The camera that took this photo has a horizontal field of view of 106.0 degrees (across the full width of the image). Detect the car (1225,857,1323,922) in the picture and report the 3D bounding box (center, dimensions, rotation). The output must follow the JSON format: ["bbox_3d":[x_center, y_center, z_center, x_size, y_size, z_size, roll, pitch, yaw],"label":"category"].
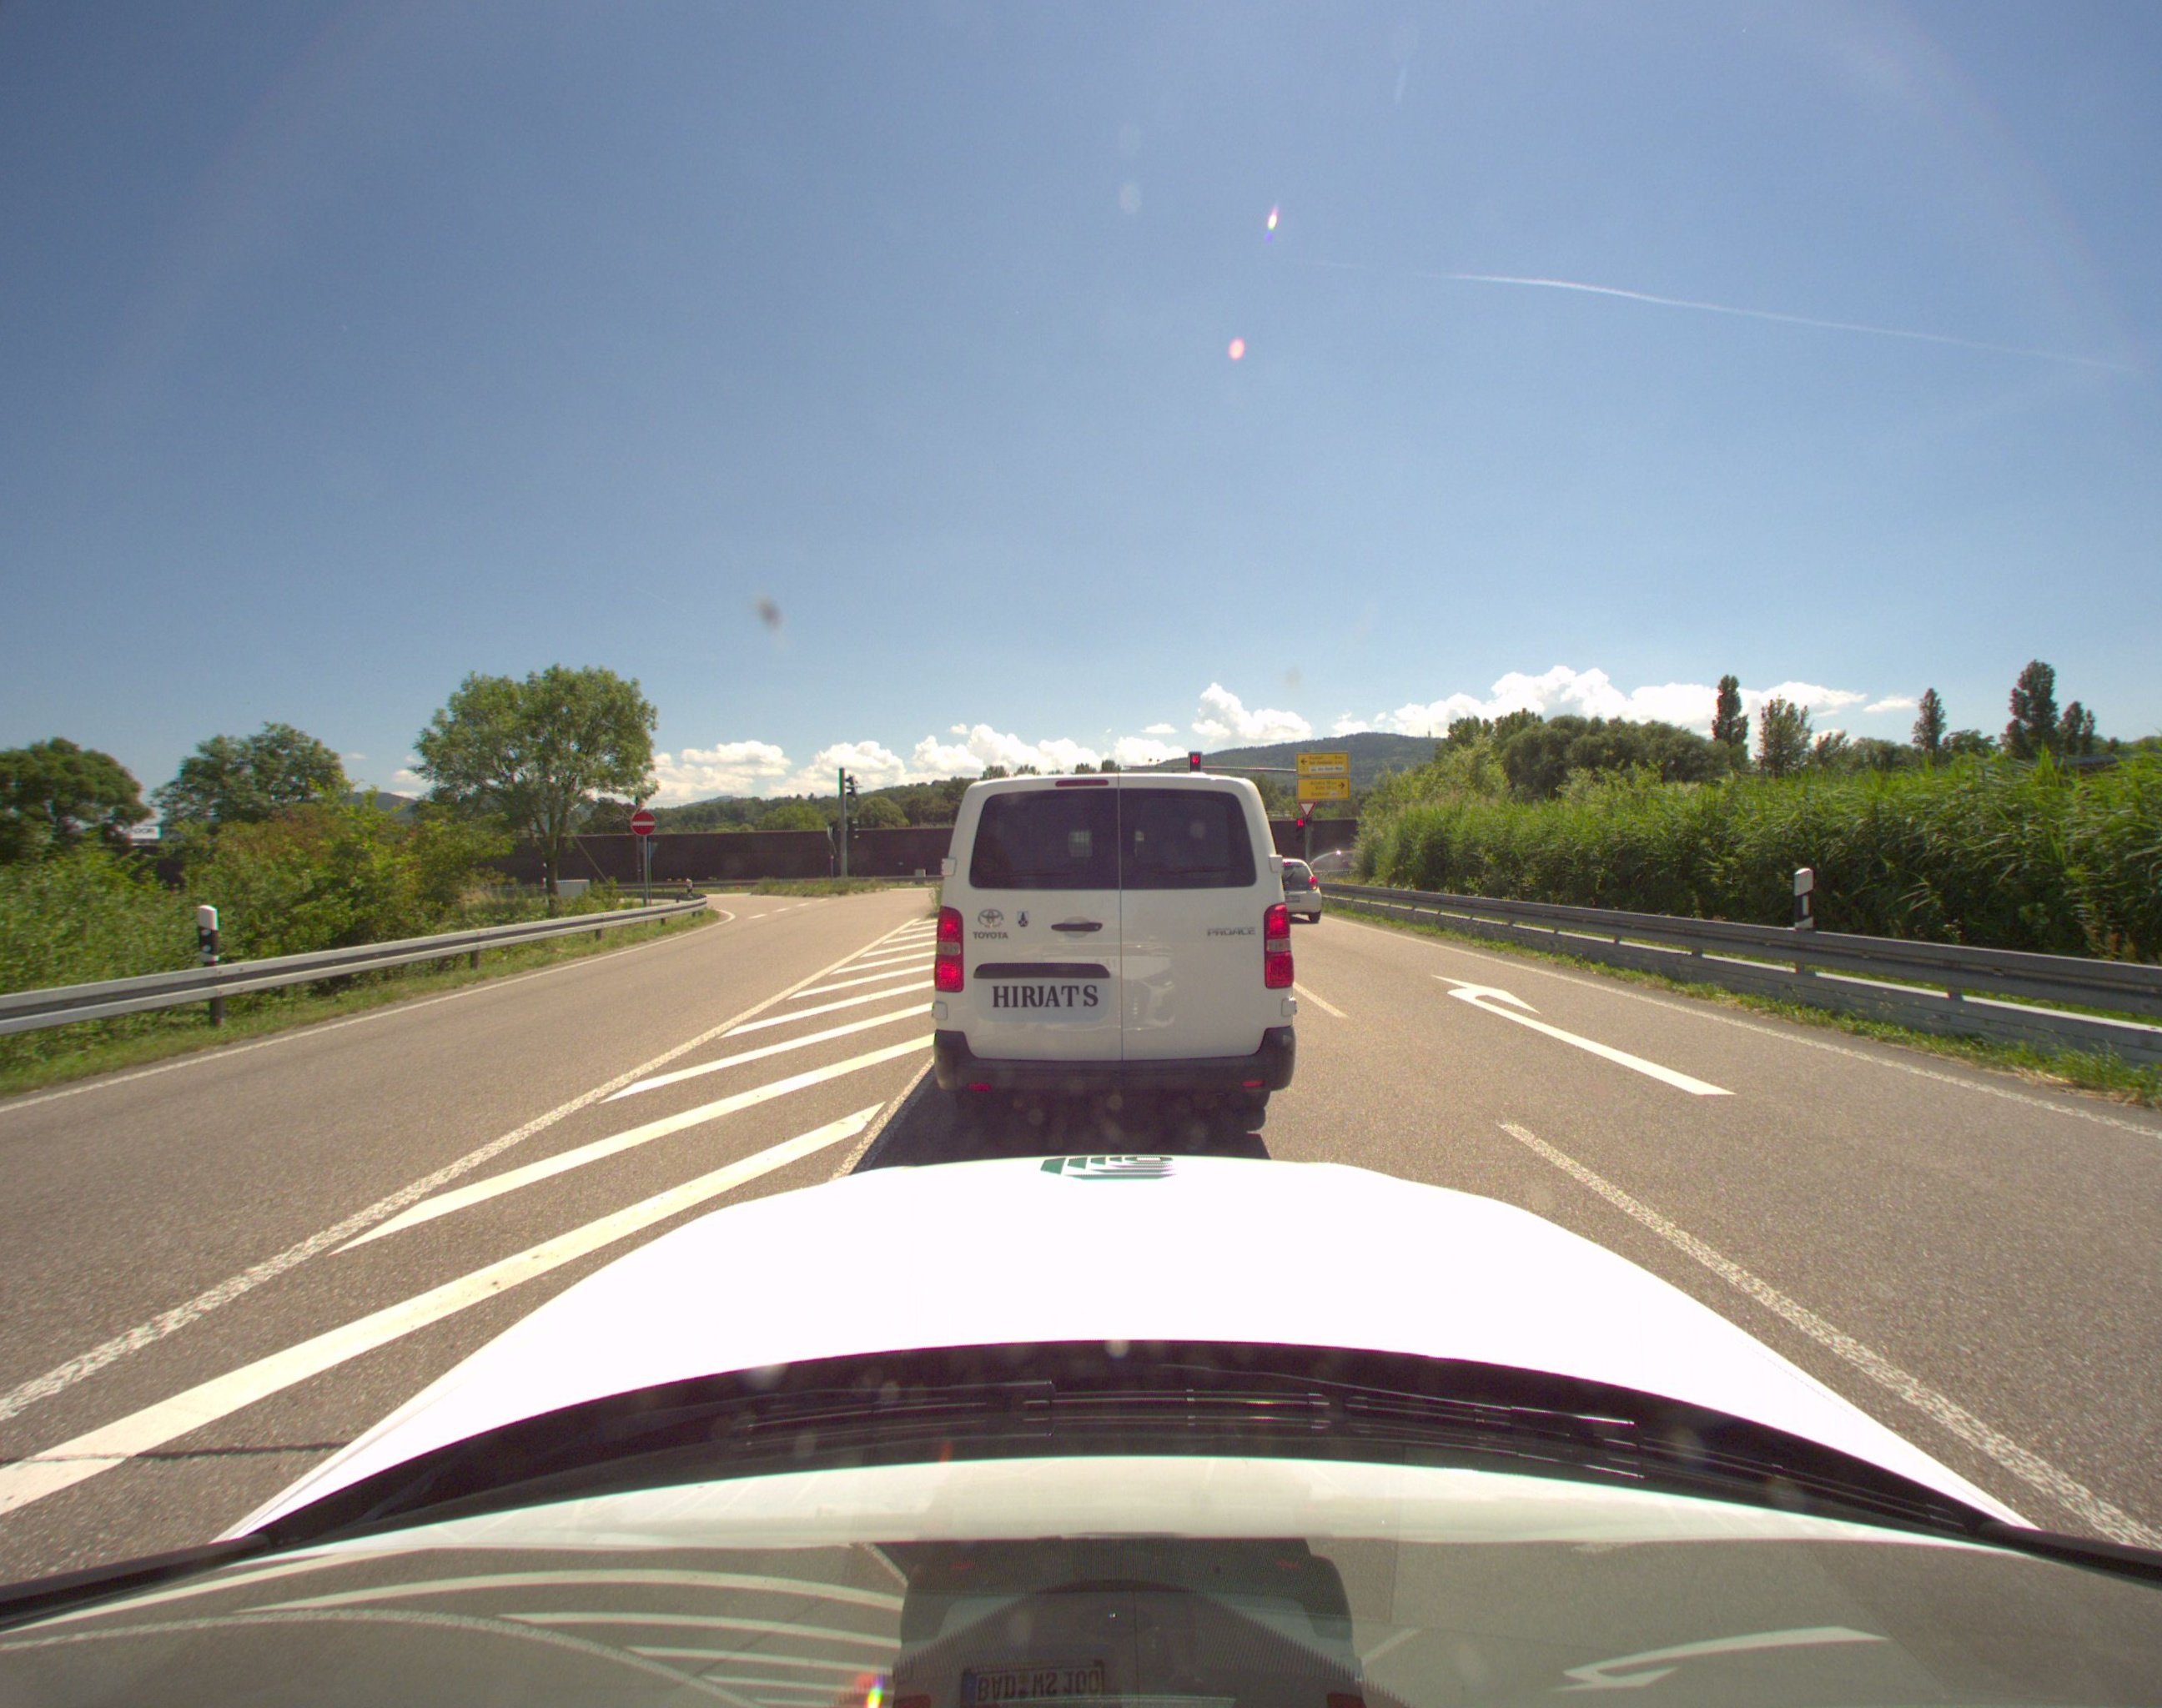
[{"bbox_3d":[4.560,0.793,19.665,1.650,1.431,3.366,-1,0,1],"label":"car"}]

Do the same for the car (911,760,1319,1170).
[{"bbox_3d":[0.202,0.528,5.786,1.880,1.886,4.001,-1,0,1],"label":"car"}]

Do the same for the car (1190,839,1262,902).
[{"bbox_3d":[4.924,0.536,28.249,1.920,2.000,4.842,-1,0,3],"label":"car"}]

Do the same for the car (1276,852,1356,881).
[{"bbox_3d":[14.265,0.747,49.659,4.298,1.656,1.999,-1,-1,-2],"label":"car"}]
